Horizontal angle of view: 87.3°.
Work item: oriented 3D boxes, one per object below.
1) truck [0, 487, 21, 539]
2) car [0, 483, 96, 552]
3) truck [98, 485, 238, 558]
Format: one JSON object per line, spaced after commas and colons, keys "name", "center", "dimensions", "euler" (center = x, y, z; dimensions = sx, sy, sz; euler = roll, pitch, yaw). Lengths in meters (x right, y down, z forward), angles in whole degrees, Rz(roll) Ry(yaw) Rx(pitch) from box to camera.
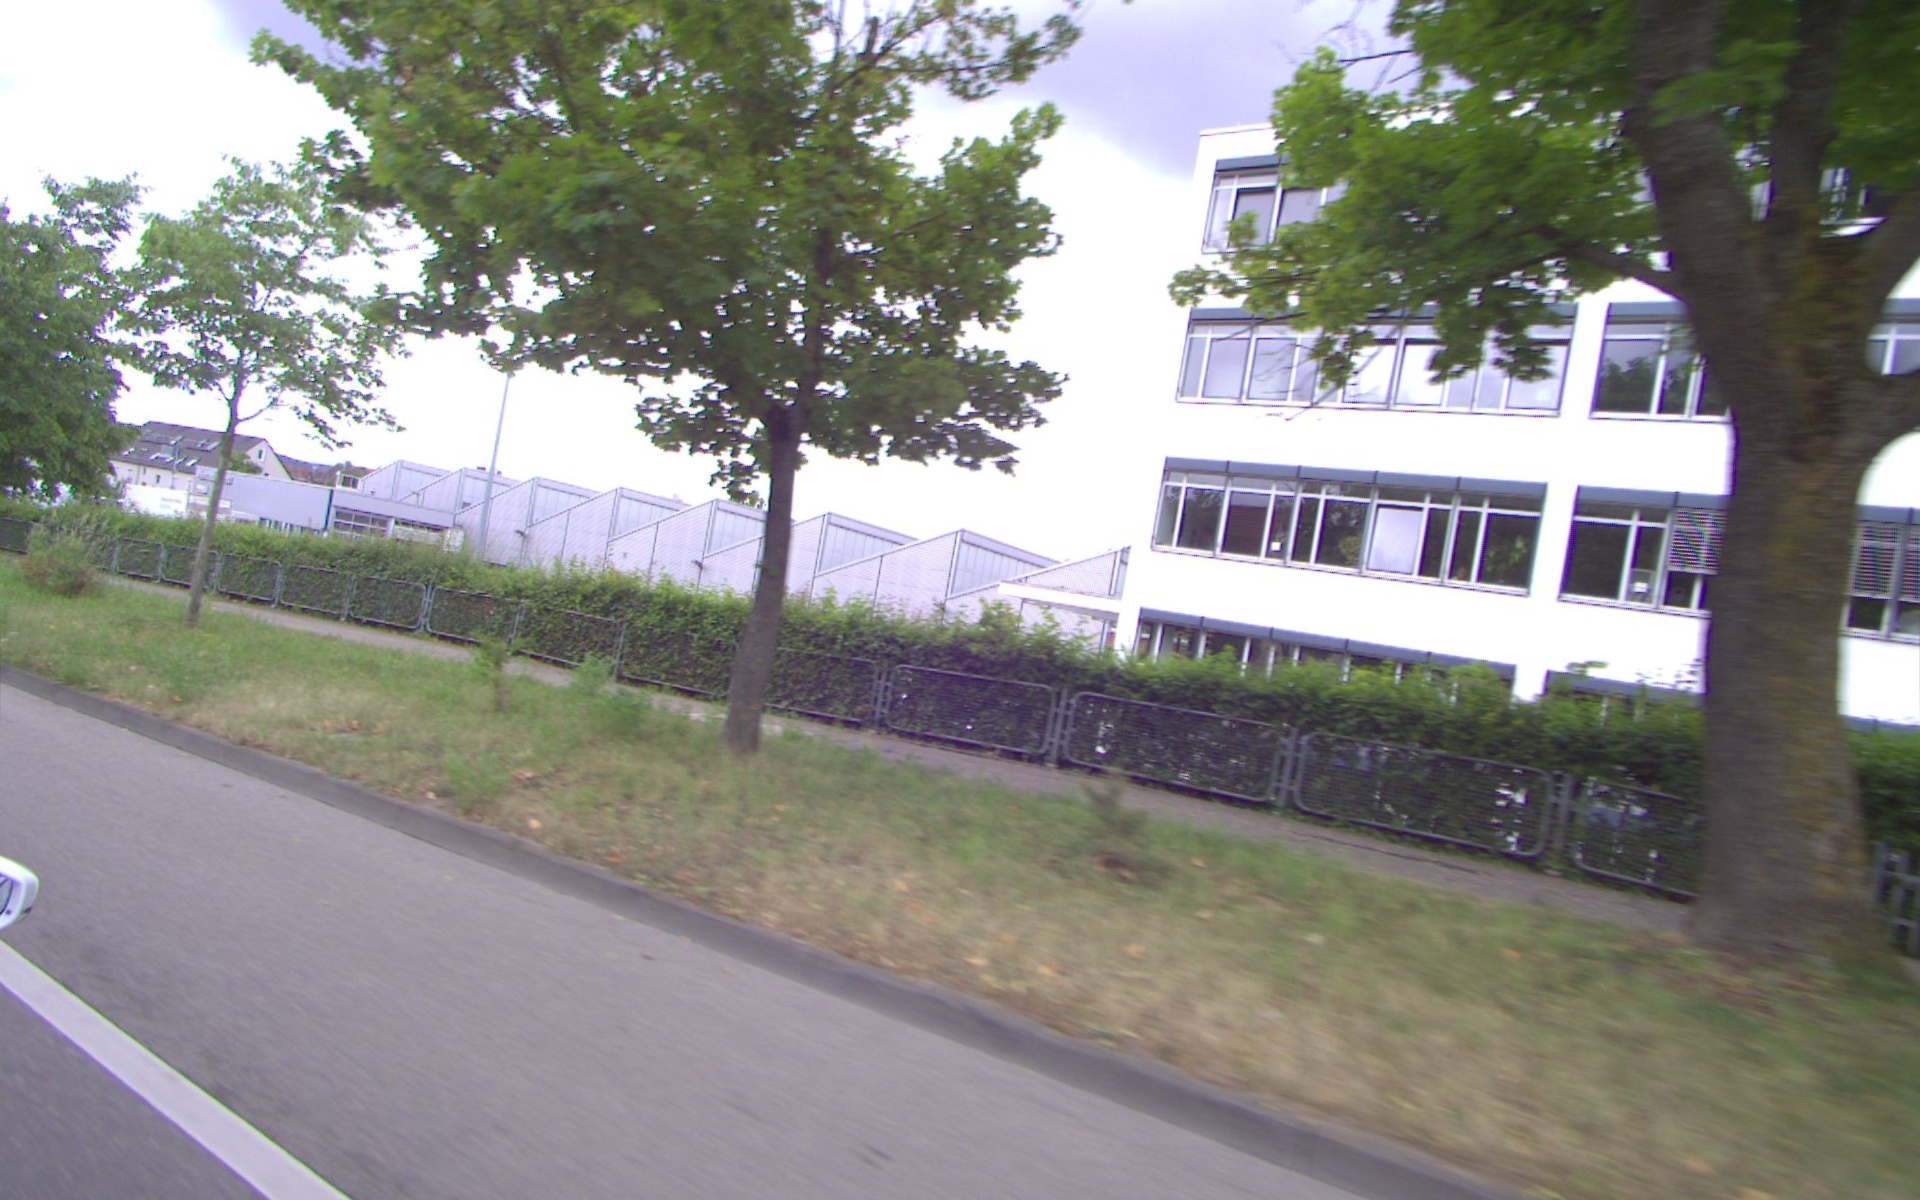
{"name": "truck", "center": [-43.995, -4.172, 42.605], "dimensions": [2.205, 2.237, 6.261], "euler": [8, -3, 2]}
{"name": "car", "center": [-37.312, -3.376, 39.318], "dimensions": [2.032, 2.212, 5.269], "euler": [7, -3, 5]}
{"name": "truck", "center": [-50.665, -5.047, 64.305], "dimensions": [9.371, 3.498, 2.863], "euler": [7, -2, 25]}
